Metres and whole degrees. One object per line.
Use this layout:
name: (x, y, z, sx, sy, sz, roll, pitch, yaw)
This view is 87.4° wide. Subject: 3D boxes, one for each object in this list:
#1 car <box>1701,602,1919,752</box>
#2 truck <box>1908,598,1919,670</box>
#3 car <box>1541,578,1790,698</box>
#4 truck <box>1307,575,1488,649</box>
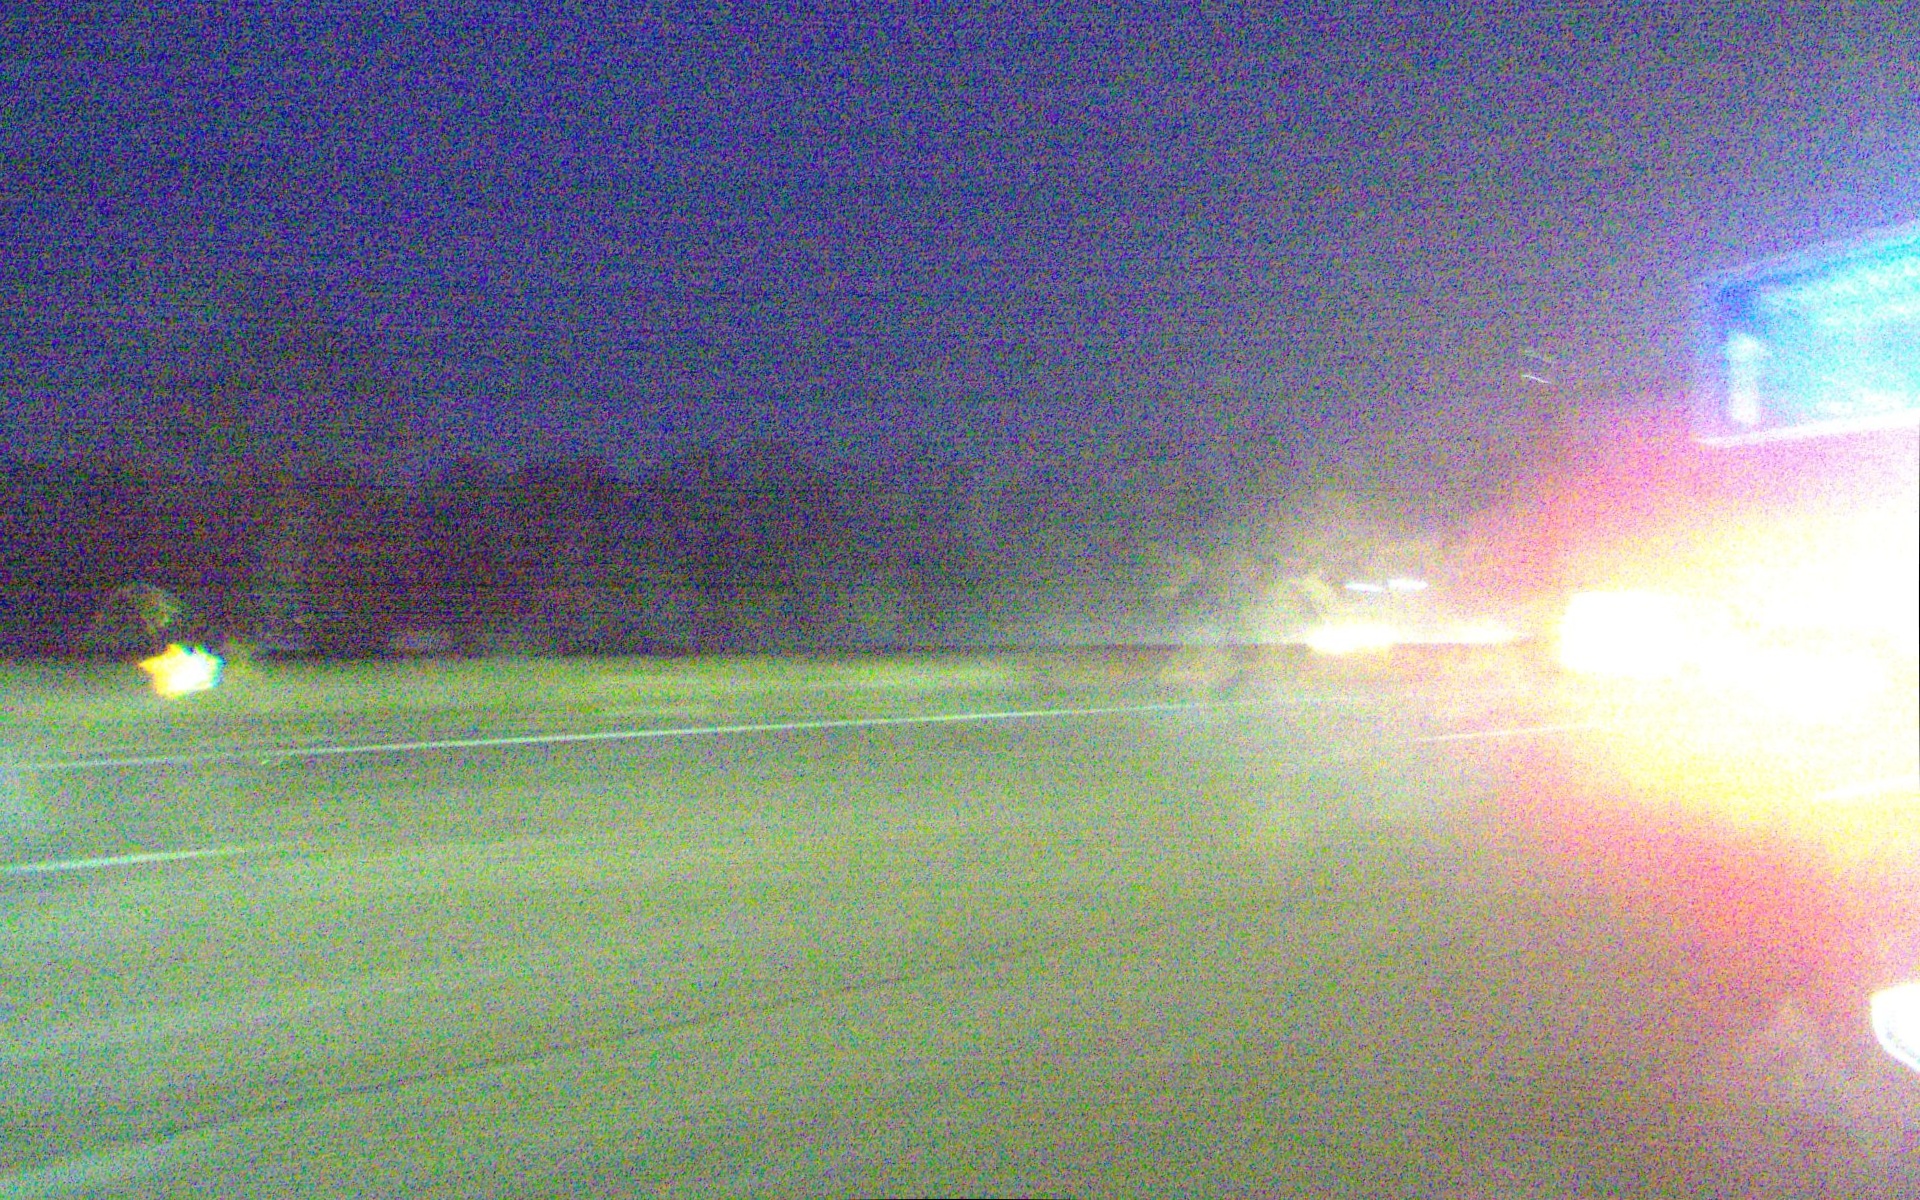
car: (11.747, 0.913, 13.443, 3.959, 1.712, 1.754, 1, 0, -35)
truck: (32.833, 1.153, 31.824, 5.798, 2.230, 2.839, 2, 0, -34)
car: (14.248, 0.719, 20.181, 5.567, 2.132, 2.111, 1, 0, -32)
truck: (18.406, 0.536, 42.114, 7.650, 2.884, 2.887, 2, 0, -29)
